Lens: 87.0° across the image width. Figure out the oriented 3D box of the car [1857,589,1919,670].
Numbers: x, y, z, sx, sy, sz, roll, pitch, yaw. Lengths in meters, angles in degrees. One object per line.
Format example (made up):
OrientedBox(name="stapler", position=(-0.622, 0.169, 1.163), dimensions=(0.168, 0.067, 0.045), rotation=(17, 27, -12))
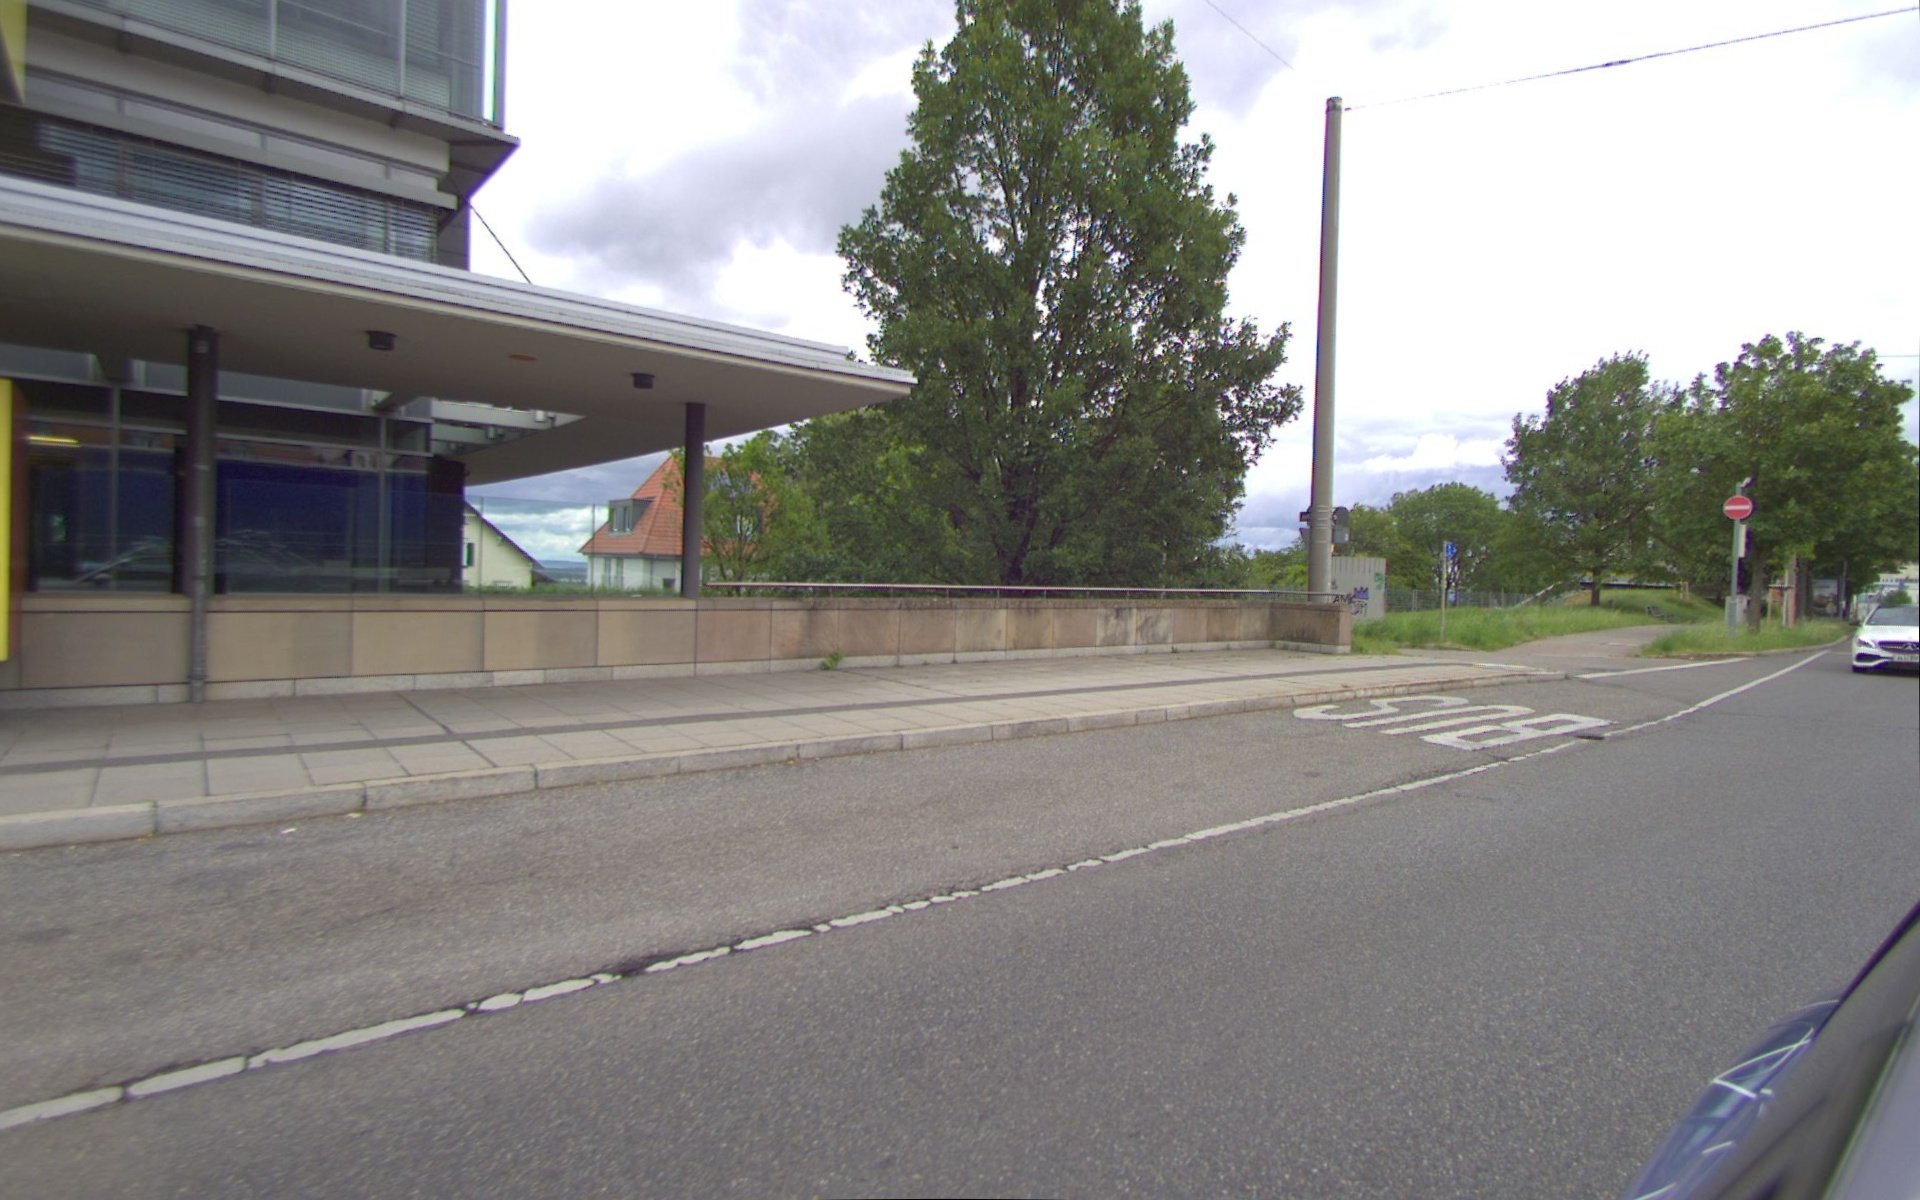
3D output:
OrientedBox(name="car", position=(20.175, 0.580, 21.218), dimensions=(1.868, 1.524, 4.698), rotation=(3, 2, 43))
